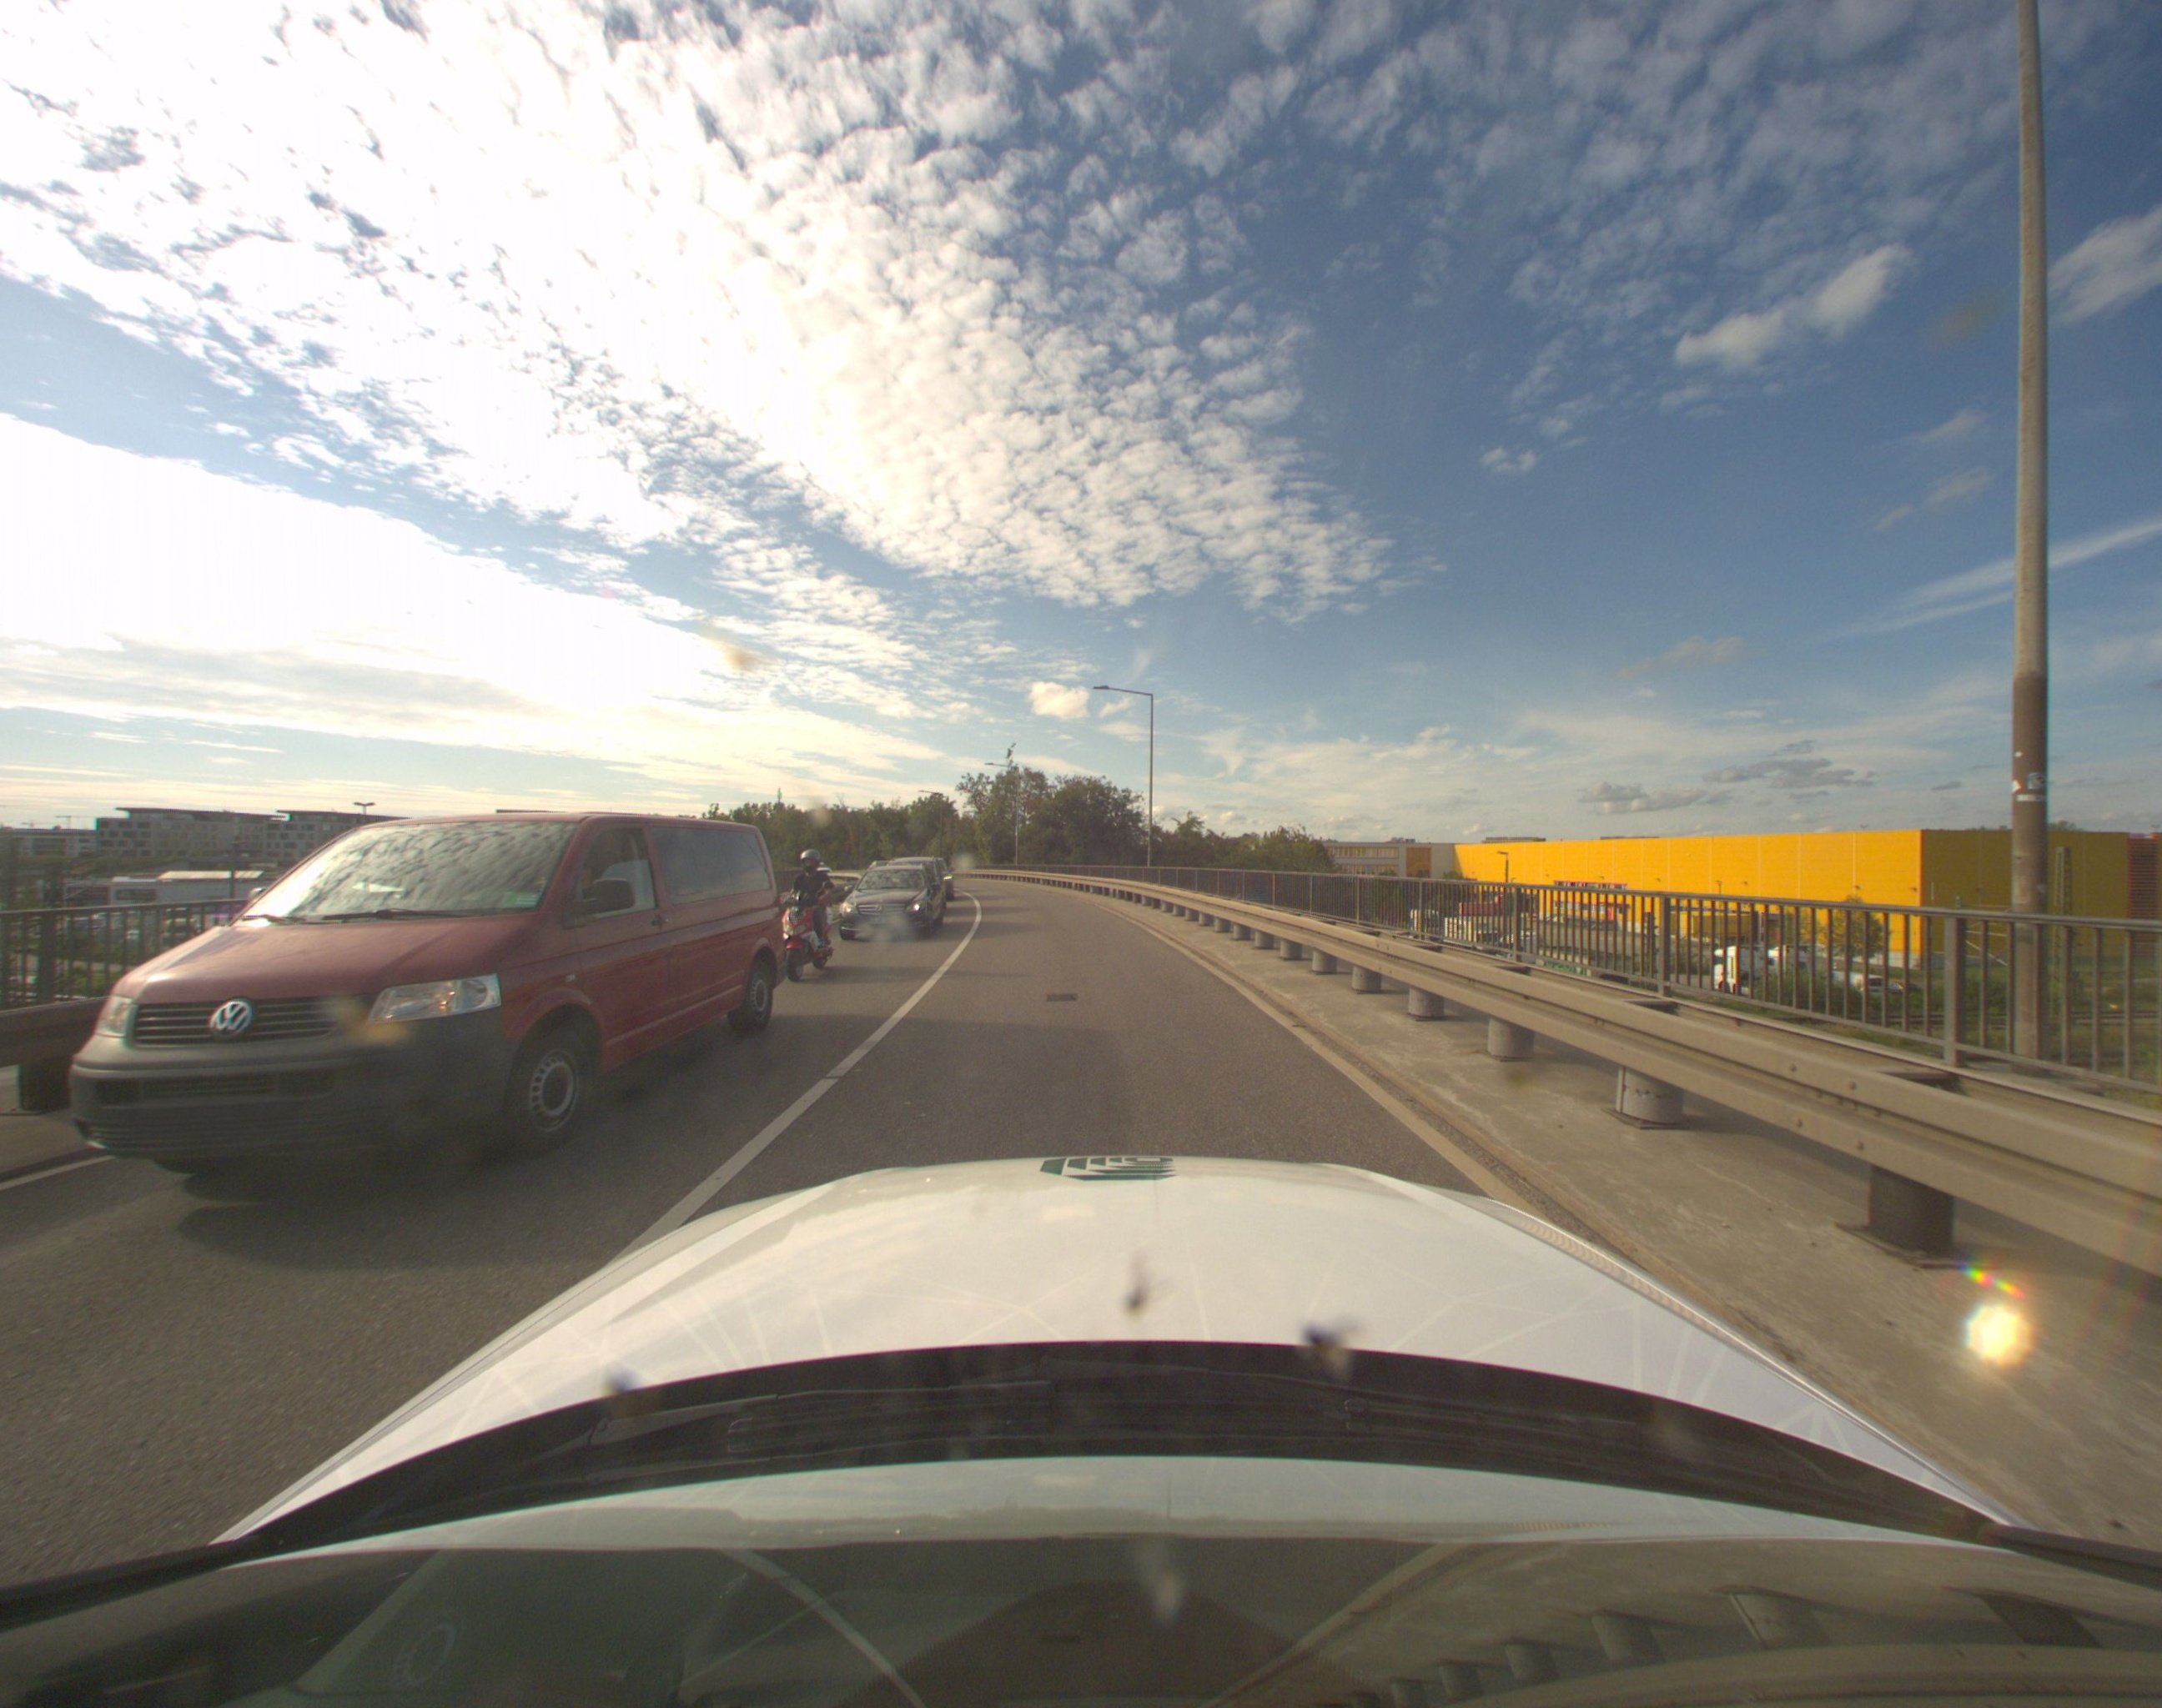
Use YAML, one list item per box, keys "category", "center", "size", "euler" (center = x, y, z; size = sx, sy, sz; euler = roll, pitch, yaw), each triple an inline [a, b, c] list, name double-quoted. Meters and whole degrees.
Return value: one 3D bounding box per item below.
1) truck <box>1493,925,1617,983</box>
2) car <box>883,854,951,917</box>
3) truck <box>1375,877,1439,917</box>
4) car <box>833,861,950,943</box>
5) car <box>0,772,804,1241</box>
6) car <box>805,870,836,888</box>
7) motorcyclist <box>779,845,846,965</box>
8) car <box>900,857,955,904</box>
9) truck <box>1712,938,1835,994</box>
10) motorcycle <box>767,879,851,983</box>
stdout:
- category: "truck"
  center: [38.695, 8.123, 66.643]
  size: [8.565, 4.091, 2.666]
  euler: [-1, 1, -1]
- category: "car"
  center: [-4.775, 0.865, 24.209]
  size: [1.680, 1.649, 4.286]
  euler: [-2, 0, -8]
- category: "truck"
  center: [43.287, 5.583, 108.585]
  size: [3.620, 4.855, 11.268]
  euler: [-2, -1, -2]
- category: "car"
  center: [-3.900, 0.908, 17.498]
  size: [1.831, 1.465, 4.508]
  euler: [-2, 0, -6]
- category: "car"
  center: [-3.790, 0.643, 5.863]
  size: [2.002, 1.903, 4.864]
  euler: [-2, 0, -2]
- category: "car"
  center: [-28.405, 2.698, 88.707]
  size: [1.913, 1.810, 5.350]
  euler: [-1, -1, -31]
- category: "motorcyclist"
  center: [-3.667, 0.668, 11.174]
  size: [0.619, 1.553, 0.936]
  euler: [-2, 0, -5]
- category: "car"
  center: [-5.943, 0.972, 31.900]
  size: [1.925, 1.649, 4.573]
  euler: [-2, 0, -10]
- category: "truck"
  center: [52.596, 8.498, 61.966]
  size: [7.187, 3.617, 2.666]
  euler: [-1, 1, -1]
- category: "motorcycle"
  center: [-3.698, 0.999, 11.212]
  size: [0.619, 1.252, 1.790]
  euler: [-2, 0, -4]
